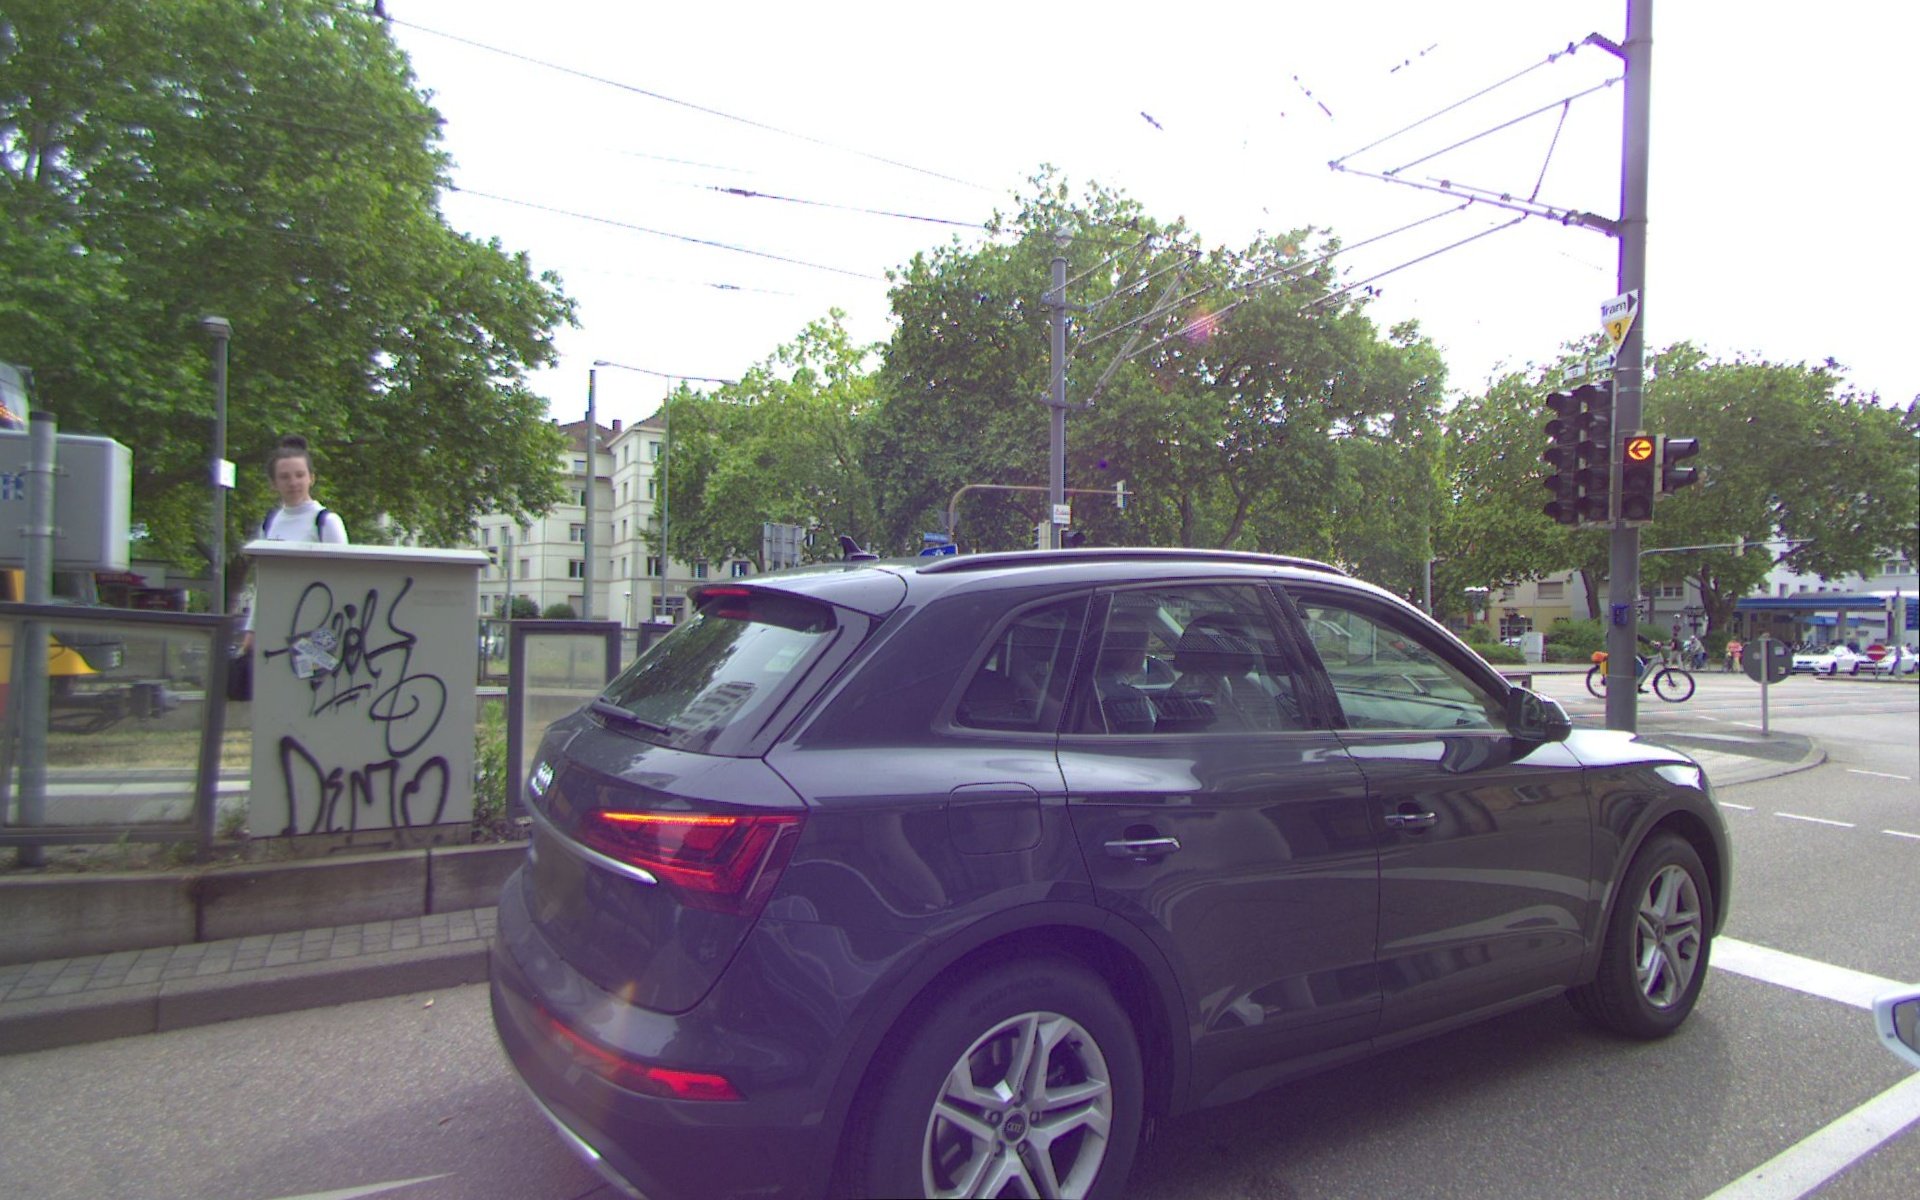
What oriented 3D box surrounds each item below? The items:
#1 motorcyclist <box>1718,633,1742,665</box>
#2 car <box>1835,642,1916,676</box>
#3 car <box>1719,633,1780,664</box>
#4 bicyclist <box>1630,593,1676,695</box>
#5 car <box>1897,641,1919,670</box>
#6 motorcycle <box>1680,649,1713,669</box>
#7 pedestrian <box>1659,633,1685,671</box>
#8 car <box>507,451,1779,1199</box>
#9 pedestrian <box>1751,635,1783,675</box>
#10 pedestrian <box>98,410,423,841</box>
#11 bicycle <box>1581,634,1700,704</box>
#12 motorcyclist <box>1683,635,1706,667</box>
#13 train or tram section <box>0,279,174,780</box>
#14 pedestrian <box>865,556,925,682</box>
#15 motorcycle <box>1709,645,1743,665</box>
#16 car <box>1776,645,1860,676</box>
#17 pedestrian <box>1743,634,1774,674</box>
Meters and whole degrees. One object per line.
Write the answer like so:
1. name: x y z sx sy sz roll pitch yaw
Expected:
1. motorcyclist: 37.234 2.363 48.567 0.863 1.540 0.617 2 -1 -30
2. car: 46.977 3.019 51.516 3.953 1.615 1.984 2 0 -30
3. car: 54.587 3.348 69.442 3.953 2.040 1.984 2 -1 -30
4. bicyclist: 14.307 0.899 20.757 0.682 2.040 0.781 2 0 32
5. car: 52.780 3.030 54.598 3.593 1.497 1.649 2 0 -29
6. motorcycle: 35.943 2.858 49.023 1.928 0.941 0.604 2 -1 -30
7. pedestrian: 32.746 2.369 46.173 0.732 1.713 0.681 2 0 -25
8. car: 0.825 0.636 3.454 4.177 1.658 1.725 2 0 -30
9. pedestrian: 35.506 2.408 44.179 0.866 1.735 0.866 2 -1 -33
10. pedestrian: -3.132 0.102 4.551 0.709 1.692 0.977 2 0 31
11. bicycle: 13.988 1.398 20.721 1.962 1.289 0.749 2 0 31
12. motorcyclist: 35.802 2.479 48.941 0.863 1.540 0.617 2 -1 -30
13. train or tram section: -14.148 -0.749 5.520 15.026 3.802 3.314 2 0 -31
14. pedestrian: -1.052 0.304 16.228 0.658 1.976 0.732 2 0 -30
15. motorcycle: 36.928 2.664 48.428 1.928 0.941 0.604 2 -1 -30
16. car: 41.237 2.901 48.254 4.025 1.338 1.739 2 0 -29
17. pedestrian: 34.761 2.341 43.728 0.682 1.735 0.864 1 -1 -26
